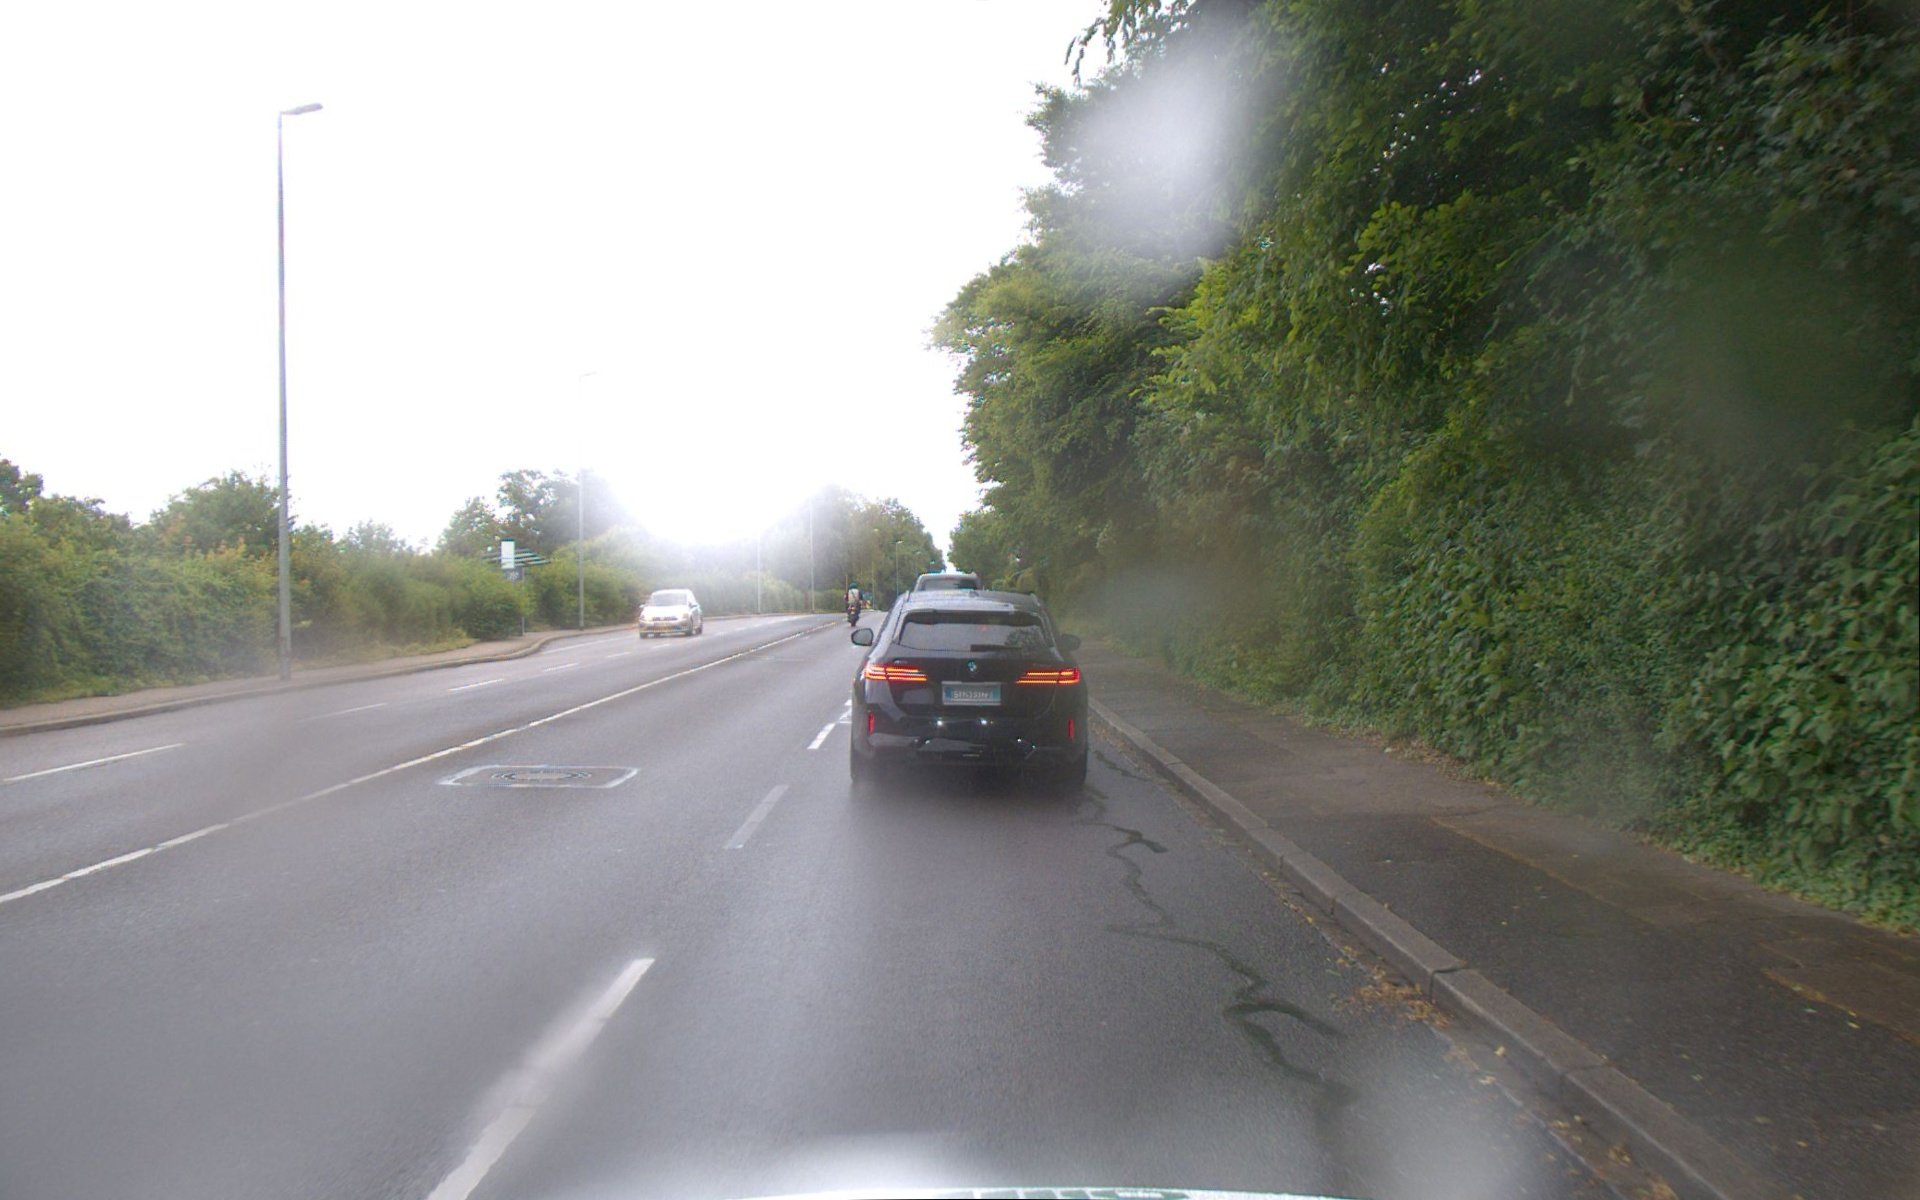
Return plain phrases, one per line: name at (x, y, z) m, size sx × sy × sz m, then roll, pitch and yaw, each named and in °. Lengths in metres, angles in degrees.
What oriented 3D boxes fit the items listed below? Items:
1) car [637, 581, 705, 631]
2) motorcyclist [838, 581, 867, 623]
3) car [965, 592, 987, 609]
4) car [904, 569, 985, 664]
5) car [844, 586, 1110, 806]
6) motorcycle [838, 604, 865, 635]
car at (-9.855, 0.175, 56.667) m, size 1.721 × 1.595 × 3.998 m, roll -2°, pitch 1°, yaw -2°
motorcyclist at (-4.152, 0.093, 63.884) m, size 1.018 × 1.595 × 0.855 m, roll 1°, pitch 0°, yaw -1°
car at (1.498, 0.038, 152.707) m, size 1.895 × 1.467 × 4.409 m, roll -1°, pitch 0°, yaw 2°
car at (-0.327, 0.308, 35.162) m, size 1.596 × 1.865 × 4.000 m, roll -1°, pitch 1°, yaw -1°
car at (0.140, 0.678, 13.806) m, size 1.858 × 1.515 × 4.000 m, roll 2°, pitch 0°, yaw 0°
motorcycle at (-4.168, 0.747, 63.951) m, size 0.858 × 1.144 × 2.740 m, roll 1°, pitch 0°, yaw -1°
